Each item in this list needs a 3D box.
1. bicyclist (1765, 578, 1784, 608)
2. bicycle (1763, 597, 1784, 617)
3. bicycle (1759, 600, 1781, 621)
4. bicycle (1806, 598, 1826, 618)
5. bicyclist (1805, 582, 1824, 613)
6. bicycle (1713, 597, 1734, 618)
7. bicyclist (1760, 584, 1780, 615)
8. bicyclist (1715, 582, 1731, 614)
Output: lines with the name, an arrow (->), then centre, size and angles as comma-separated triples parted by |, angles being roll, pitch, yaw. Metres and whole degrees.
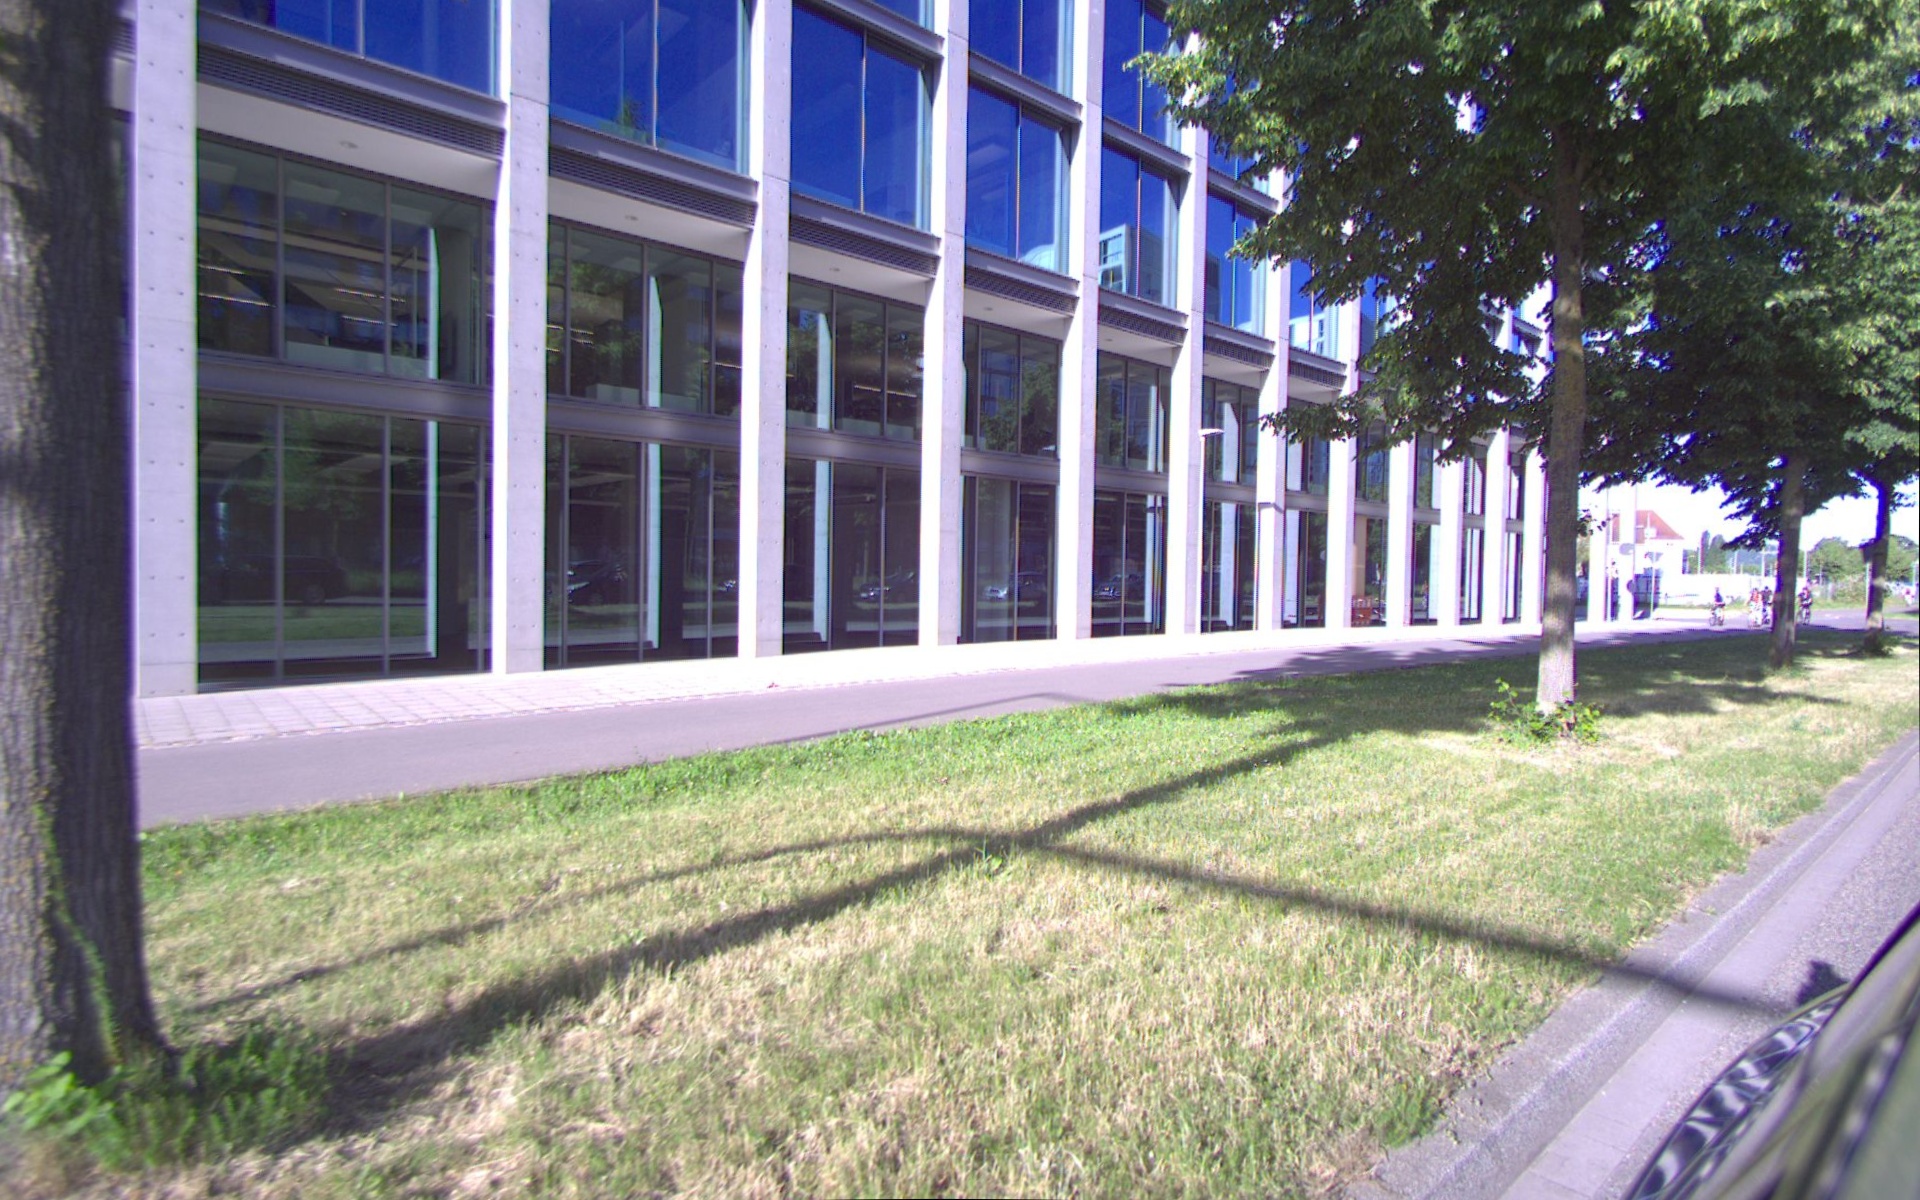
bicyclist -> 35.810, -0.327, 44.494 | 0.449, 1.305, 0.534 | -1, 1, -40
bicycle -> 35.736, 0.287, 44.457 | 1.321, 0.828, 0.464 | -1, 2, -41
bicycle -> 32.888, 0.415, 41.098 | 1.321, 0.828, 0.464 | -1, 2, -41
bicycle -> 36.917, 0.353, 43.653 | 1.321, 0.828, 0.464 | -1, 2, -41
bicyclist -> 36.875, -0.128, 43.656 | 0.512, 1.305, 0.534 | -1, 1, -40
bicycle -> 31.647, 0.314, 41.955 | 1.297, 0.828, 0.415 | -1, 2, -41
bicyclist -> 32.867, -0.016, 41.067 | 0.499, 1.232, 0.534 | -1, 1, -40
bicyclist -> 31.612, -0.077, 41.931 | 0.410, 1.305, 0.448 | -1, 1, -40
